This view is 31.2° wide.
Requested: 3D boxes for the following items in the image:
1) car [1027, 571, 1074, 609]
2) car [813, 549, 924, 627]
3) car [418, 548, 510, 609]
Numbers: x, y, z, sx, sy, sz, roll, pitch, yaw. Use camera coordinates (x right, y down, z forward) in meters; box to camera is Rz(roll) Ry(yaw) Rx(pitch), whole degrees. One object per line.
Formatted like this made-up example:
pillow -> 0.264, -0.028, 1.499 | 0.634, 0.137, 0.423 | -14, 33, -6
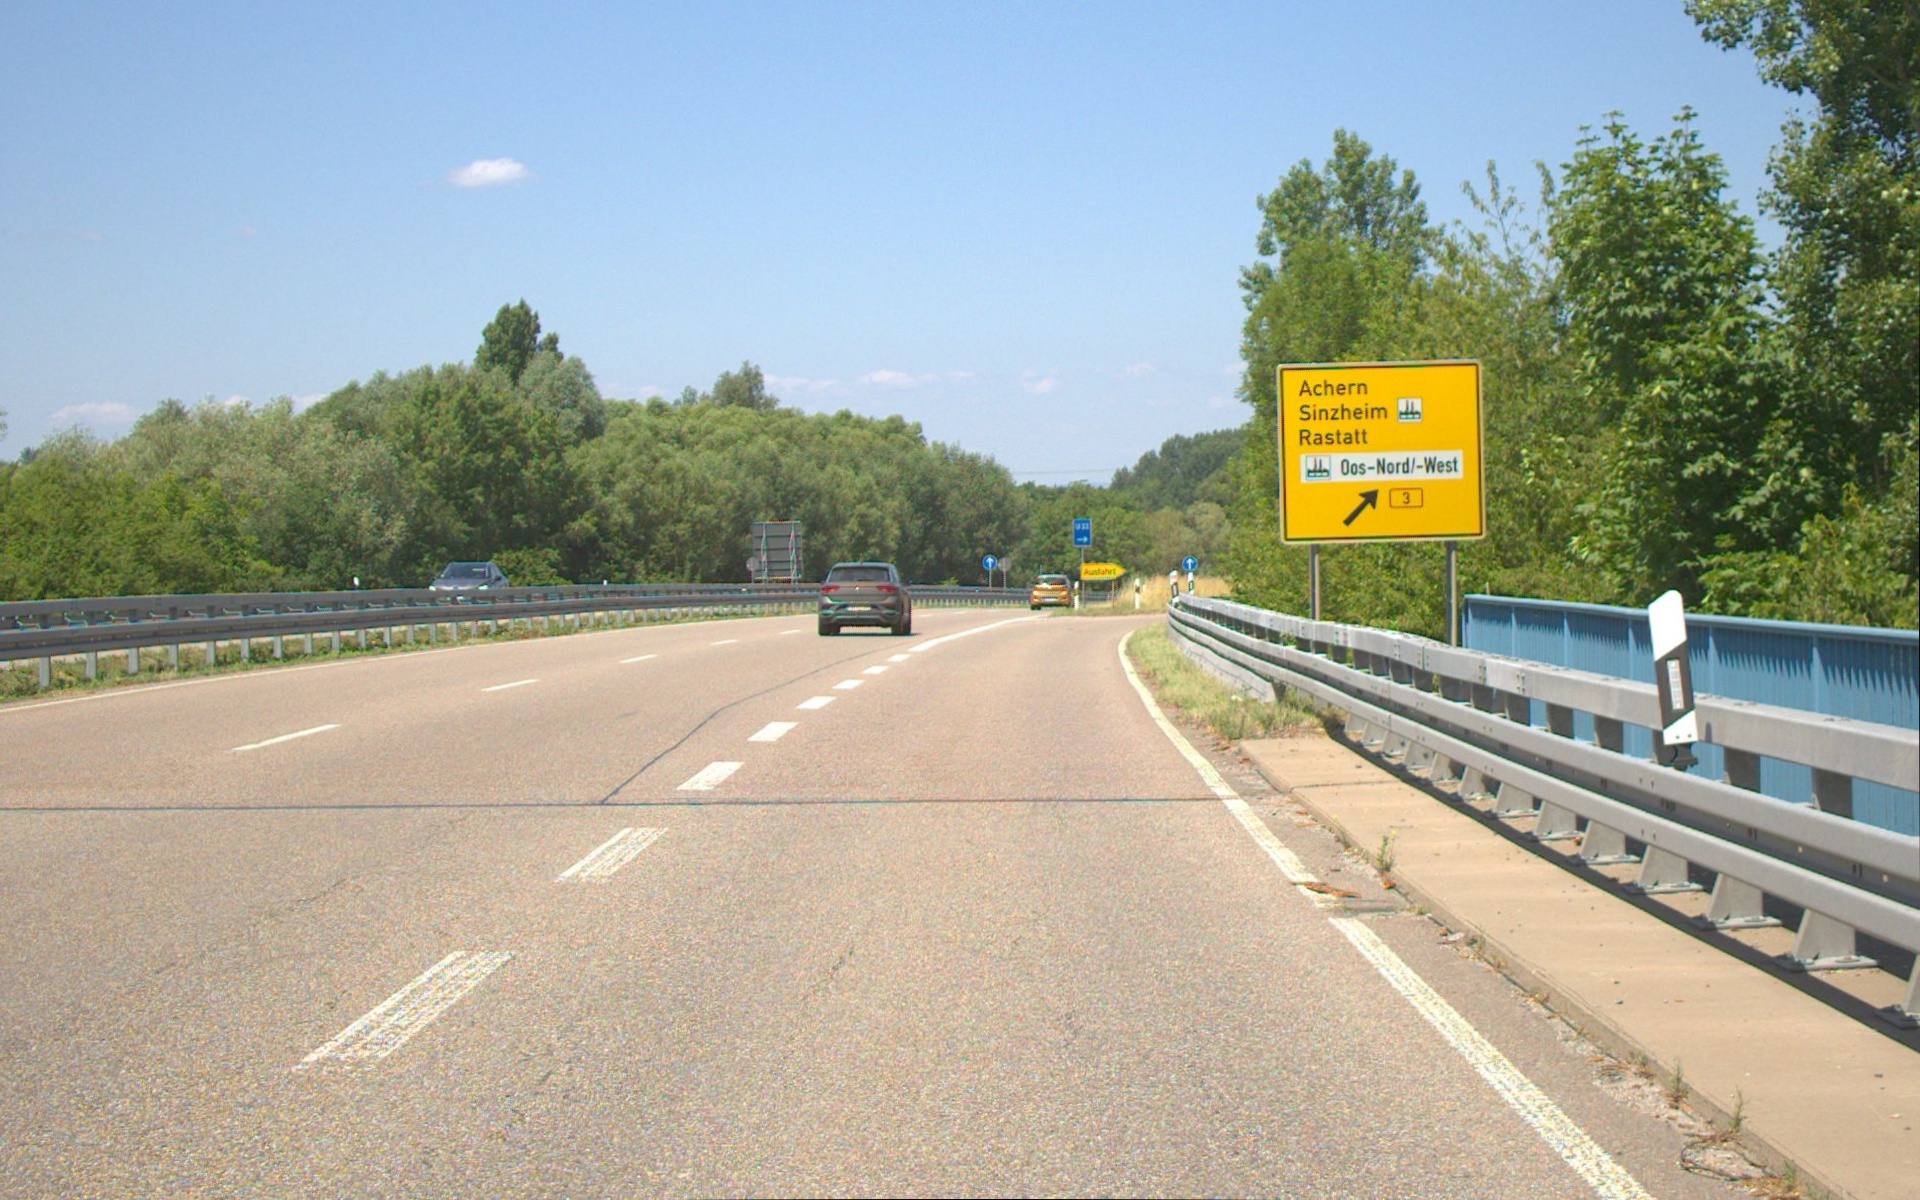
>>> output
car -> 3.833, -0.437, 145.142 | 1.841, 1.459, 4.000 | 1, 2, 4
car -> -1.927, -0.278, 73.388 | 1.841, 1.524, 4.469 | 1, 2, 5
car -> -13.778, -0.602, 95.704 | 1.825, 1.642, 4.189 | 0, 0, 2
